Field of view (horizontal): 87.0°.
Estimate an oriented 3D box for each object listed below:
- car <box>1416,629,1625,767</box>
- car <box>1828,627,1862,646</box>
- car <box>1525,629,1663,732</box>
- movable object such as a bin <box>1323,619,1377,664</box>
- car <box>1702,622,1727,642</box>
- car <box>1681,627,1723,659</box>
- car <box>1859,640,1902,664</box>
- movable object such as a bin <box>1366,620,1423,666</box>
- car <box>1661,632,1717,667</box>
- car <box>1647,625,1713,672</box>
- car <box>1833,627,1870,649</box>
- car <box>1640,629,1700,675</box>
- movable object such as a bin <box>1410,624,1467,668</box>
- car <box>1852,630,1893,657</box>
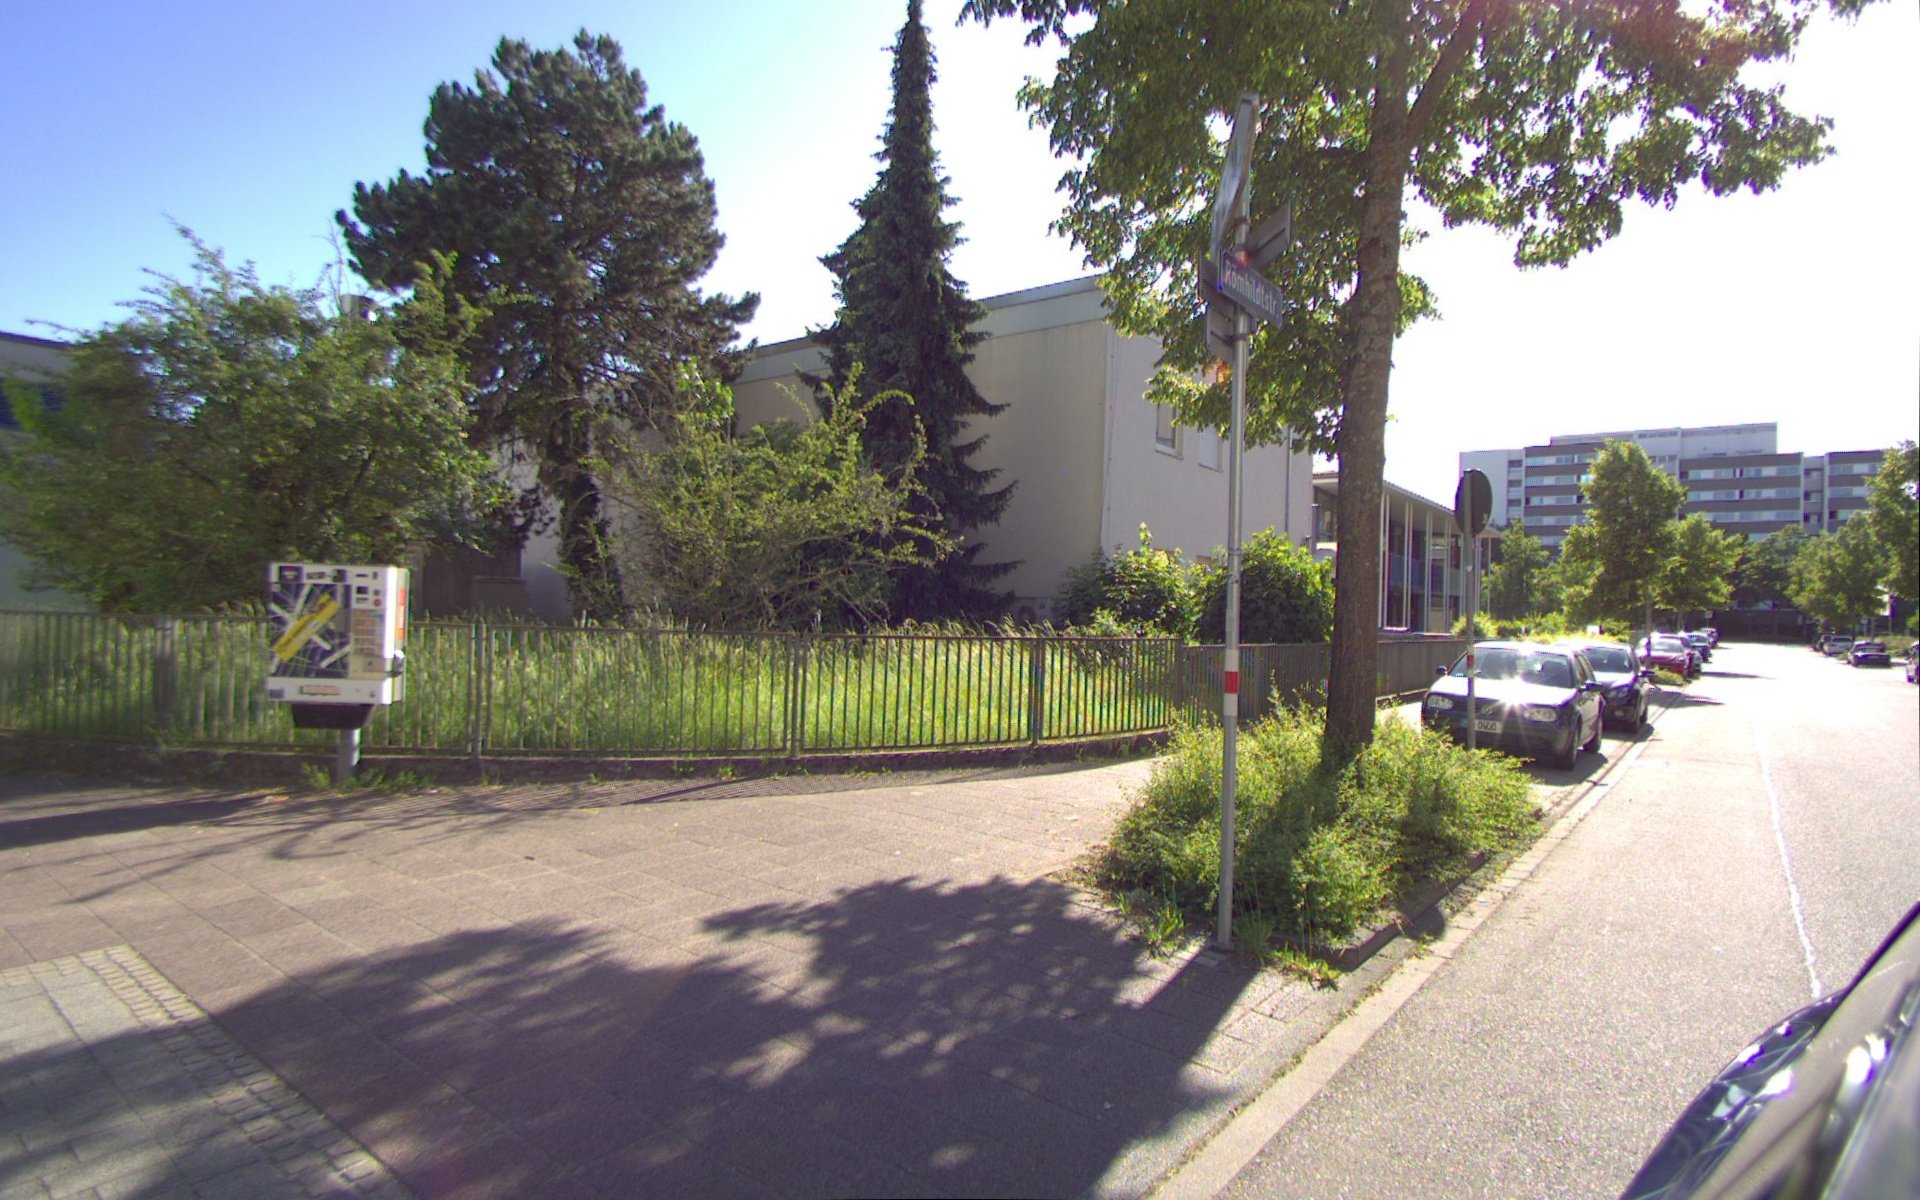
[{"bbox_3d":[7.578,1.151,13.471,1.743,1.440,4.361,0,0,39],"label":"car"},{"bbox_3d":[74.804,3.073,85.587,1.785,1.537,3.839,0,-1,35],"label":"car"},{"bbox_3d":[11.438,1.338,18.136,1.779,1.535,3.946,2,0,37],"label":"car"},{"bbox_3d":[13.684,1.437,35.512,1.328,1.466,1.608,1,-1,39],"label":"movable object such as a bin"},{"bbox_3d":[65.261,2.781,87.509,1.638,1.484,3.653,5,3,38],"label":"car"},{"bbox_3d":[44.642,2.573,60.873,1.815,1.667,4.426,5,2,38],"label":"car"},{"bbox_3d":[53.677,3.005,59.056,1.624,1.263,3.512,1,-1,39],"label":"car"},{"bbox_3d":[14.871,1.446,34.623,1.364,1.466,1.608,1,-1,39],"label":"movable object such as a bin"},{"bbox_3d":[33.658,2.245,46.827,1.957,1.336,4.715,4,1,35],"label":"car"},{"bbox_3d":[29.563,1.925,41.493,1.897,1.703,4.348,3,1,39],"label":"car"},{"bbox_3d":[69.265,2.953,78.676,1.785,1.620,3.839,0,-1,35],"label":"car"},{"bbox_3d":[26.082,1.880,37.119,1.671,1.523,3.794,1,-1,37],"label":"car"},{"bbox_3d":[15.943,1.523,33.682,1.364,1.375,1.608,1,-1,39],"label":"movable object such as a bin"},{"bbox_3d":[57.389,2.718,63.675,1.623,1.544,3.513,1,-1,37],"label":"car"}]
